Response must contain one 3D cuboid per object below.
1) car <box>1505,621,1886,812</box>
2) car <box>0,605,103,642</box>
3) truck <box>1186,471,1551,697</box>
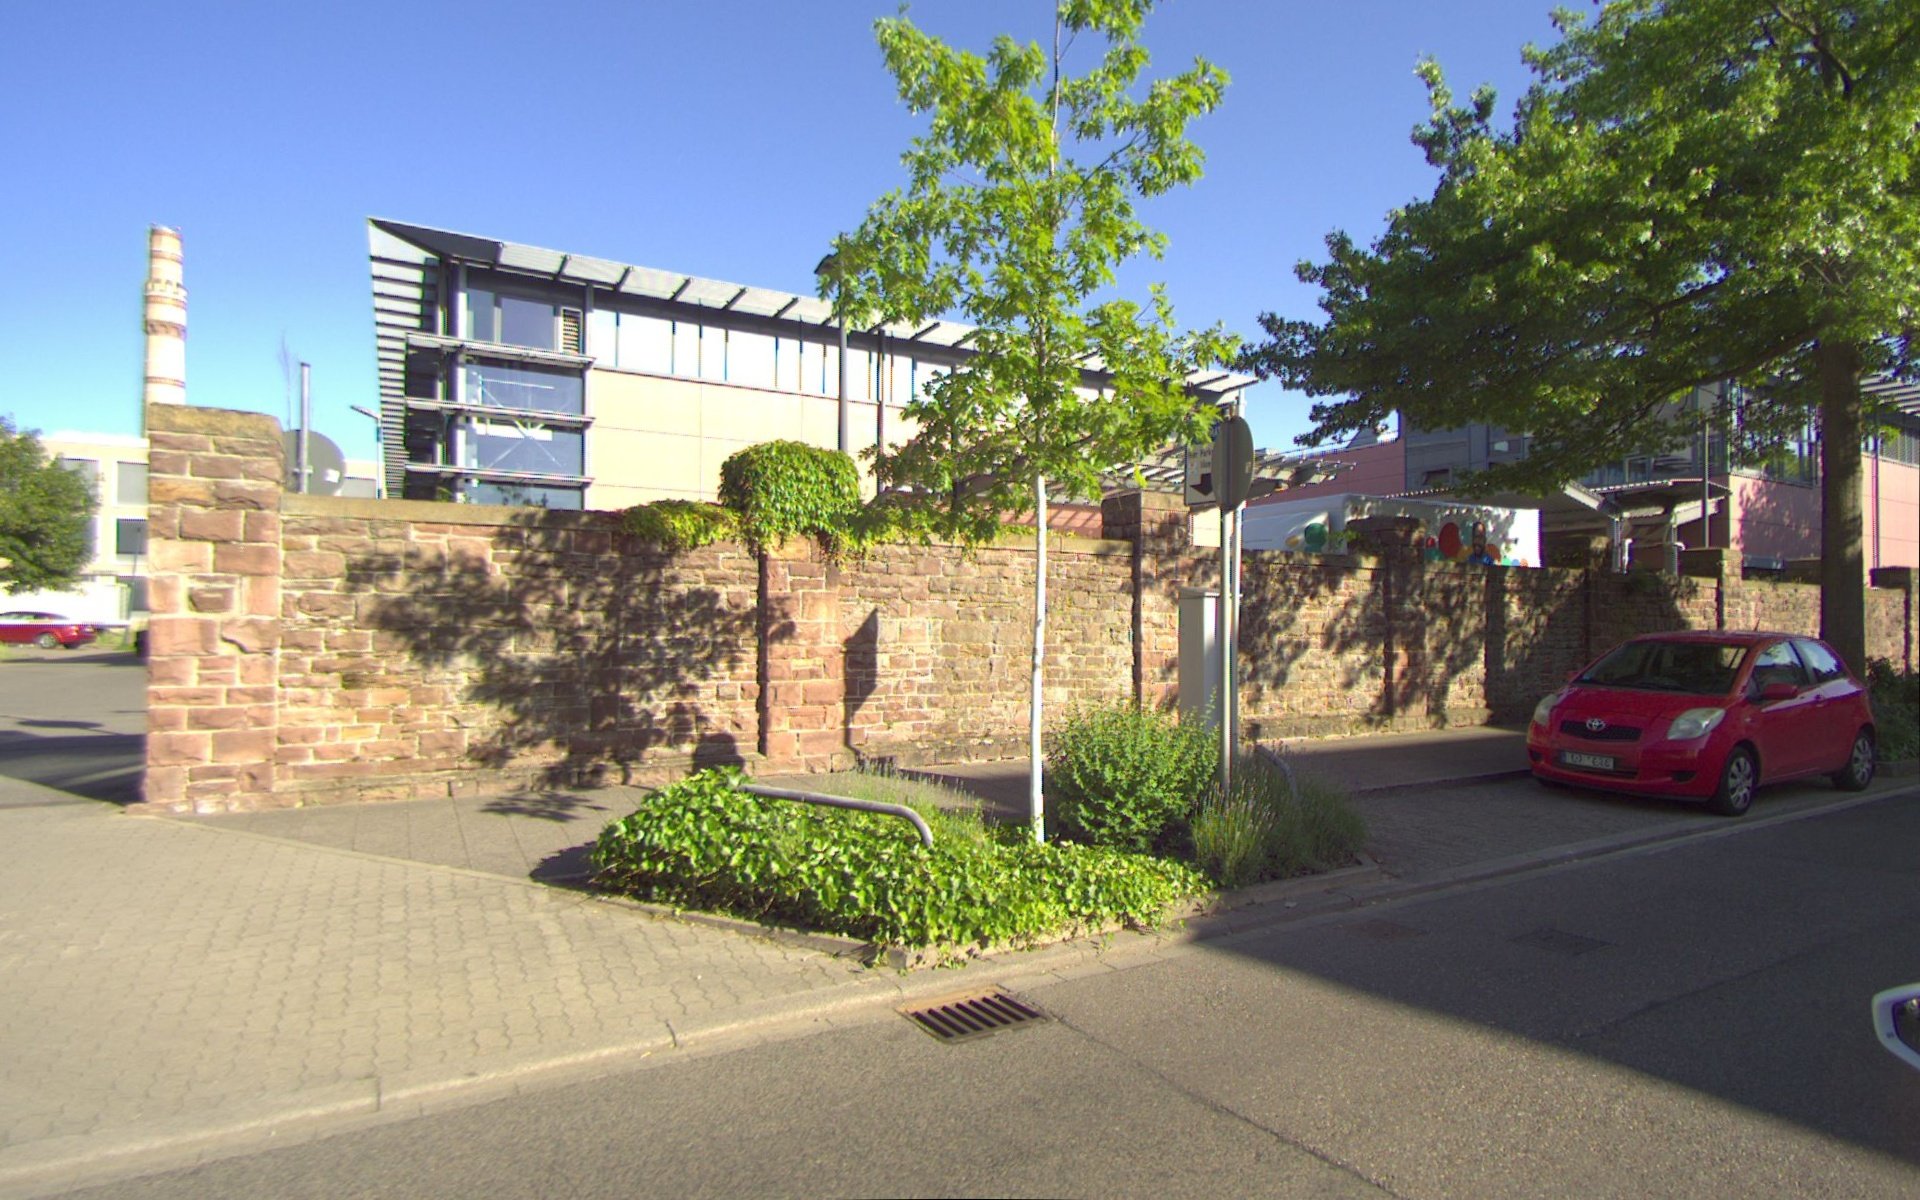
[{"bbox_3d":[7.109,0.985,9.653,3.664,1.478,1.601,1,0,-30],"label":"car"},{"bbox_3d":[-36.203,0.896,39.036,3.945,1.364,1.988,1,0,-25],"label":"car"},{"bbox_3d":[8.156,-0.209,19.729,7.342,3.761,2.719,1,0,-31],"label":"truck"}]
